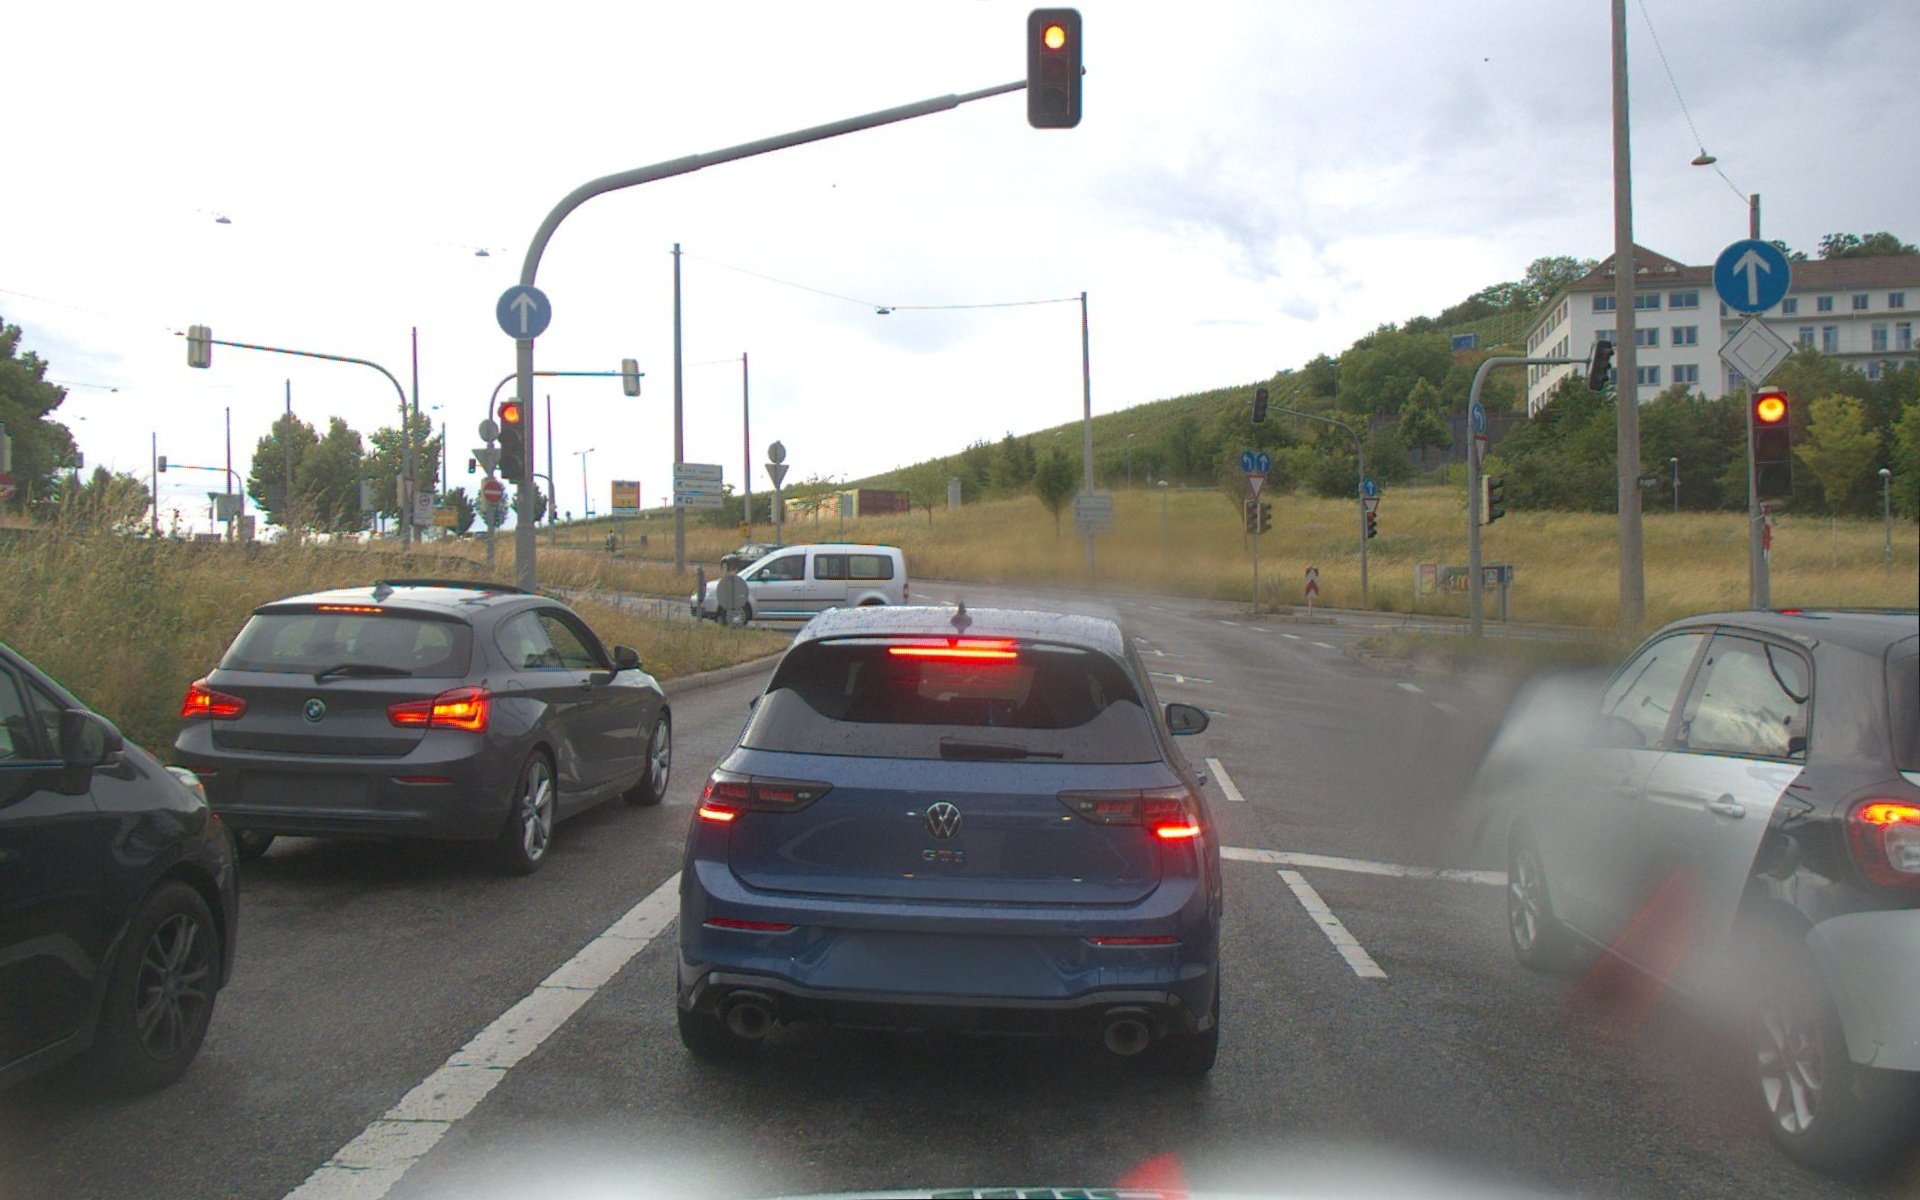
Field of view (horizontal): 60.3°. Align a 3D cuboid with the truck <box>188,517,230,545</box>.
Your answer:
[{"bbox_3d":[-90.619,-8.311,199.577,3.234,3.128,6.096,4,0,-37],"label":"truck"}]

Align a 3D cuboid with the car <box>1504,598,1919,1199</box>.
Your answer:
[{"bbox_3d":[3.189,0.791,5.716,1.623,1.529,3.452,1,-1,3],"label":"car"}]

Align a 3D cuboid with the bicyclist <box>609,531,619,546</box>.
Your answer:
[{"bbox_3d":[-25.165,-4.498,120.358,0.518,1.065,0.574,4,0,-34],"label":"bicyclist"}]

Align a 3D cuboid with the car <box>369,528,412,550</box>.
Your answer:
[{"bbox_3d":[-44.005,-4.678,127.781,1.978,1.503,4.446,1,-1,-36],"label":"car"}]

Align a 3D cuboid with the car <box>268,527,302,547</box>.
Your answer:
[{"bbox_3d":[-67.082,-6.218,164.332,2.110,1.825,4.686,3,0,-34],"label":"car"}]

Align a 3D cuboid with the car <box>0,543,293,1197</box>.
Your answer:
[{"bbox_3d":[-3.044,0.614,3.504,1.608,1.530,3.779,2,1,2],"label":"car"}]

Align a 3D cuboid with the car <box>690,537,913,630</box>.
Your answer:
[{"bbox_3d":[-3.441,-0.350,35.702,4.601,1.882,1.816,1,1,-13],"label":"car"}]

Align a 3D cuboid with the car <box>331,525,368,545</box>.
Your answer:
[{"bbox_3d":[-52.640,-5.571,142.522,1.977,1.503,4.366,1,-1,-35],"label":"car"}]

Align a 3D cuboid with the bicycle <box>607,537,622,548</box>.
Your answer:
[{"bbox_3d":[-25.125,-4.193,120.254,0.513,0.788,1.602,1,0,-33],"label":"bicycle"}]

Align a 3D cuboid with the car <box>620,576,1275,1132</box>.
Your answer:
[{"bbox_3d":[0.103,0.681,6.433,1.786,1.486,3.810,1,0,4],"label":"car"}]

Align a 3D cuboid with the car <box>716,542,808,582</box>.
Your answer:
[{"bbox_3d":[-8.763,-1.675,72.946,1.978,1.646,4.790,1,1,-36],"label":"car"}]

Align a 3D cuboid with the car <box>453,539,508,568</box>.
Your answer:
[{"bbox_3d":[-30.961,-2.972,106.655,1.979,1.665,4.362,1,-1,-37],"label":"car"}]

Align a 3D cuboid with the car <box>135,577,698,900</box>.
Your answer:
[{"bbox_3d":[-2.858,0.619,9.723,1.667,1.485,4.117,0,0,5],"label":"car"}]
